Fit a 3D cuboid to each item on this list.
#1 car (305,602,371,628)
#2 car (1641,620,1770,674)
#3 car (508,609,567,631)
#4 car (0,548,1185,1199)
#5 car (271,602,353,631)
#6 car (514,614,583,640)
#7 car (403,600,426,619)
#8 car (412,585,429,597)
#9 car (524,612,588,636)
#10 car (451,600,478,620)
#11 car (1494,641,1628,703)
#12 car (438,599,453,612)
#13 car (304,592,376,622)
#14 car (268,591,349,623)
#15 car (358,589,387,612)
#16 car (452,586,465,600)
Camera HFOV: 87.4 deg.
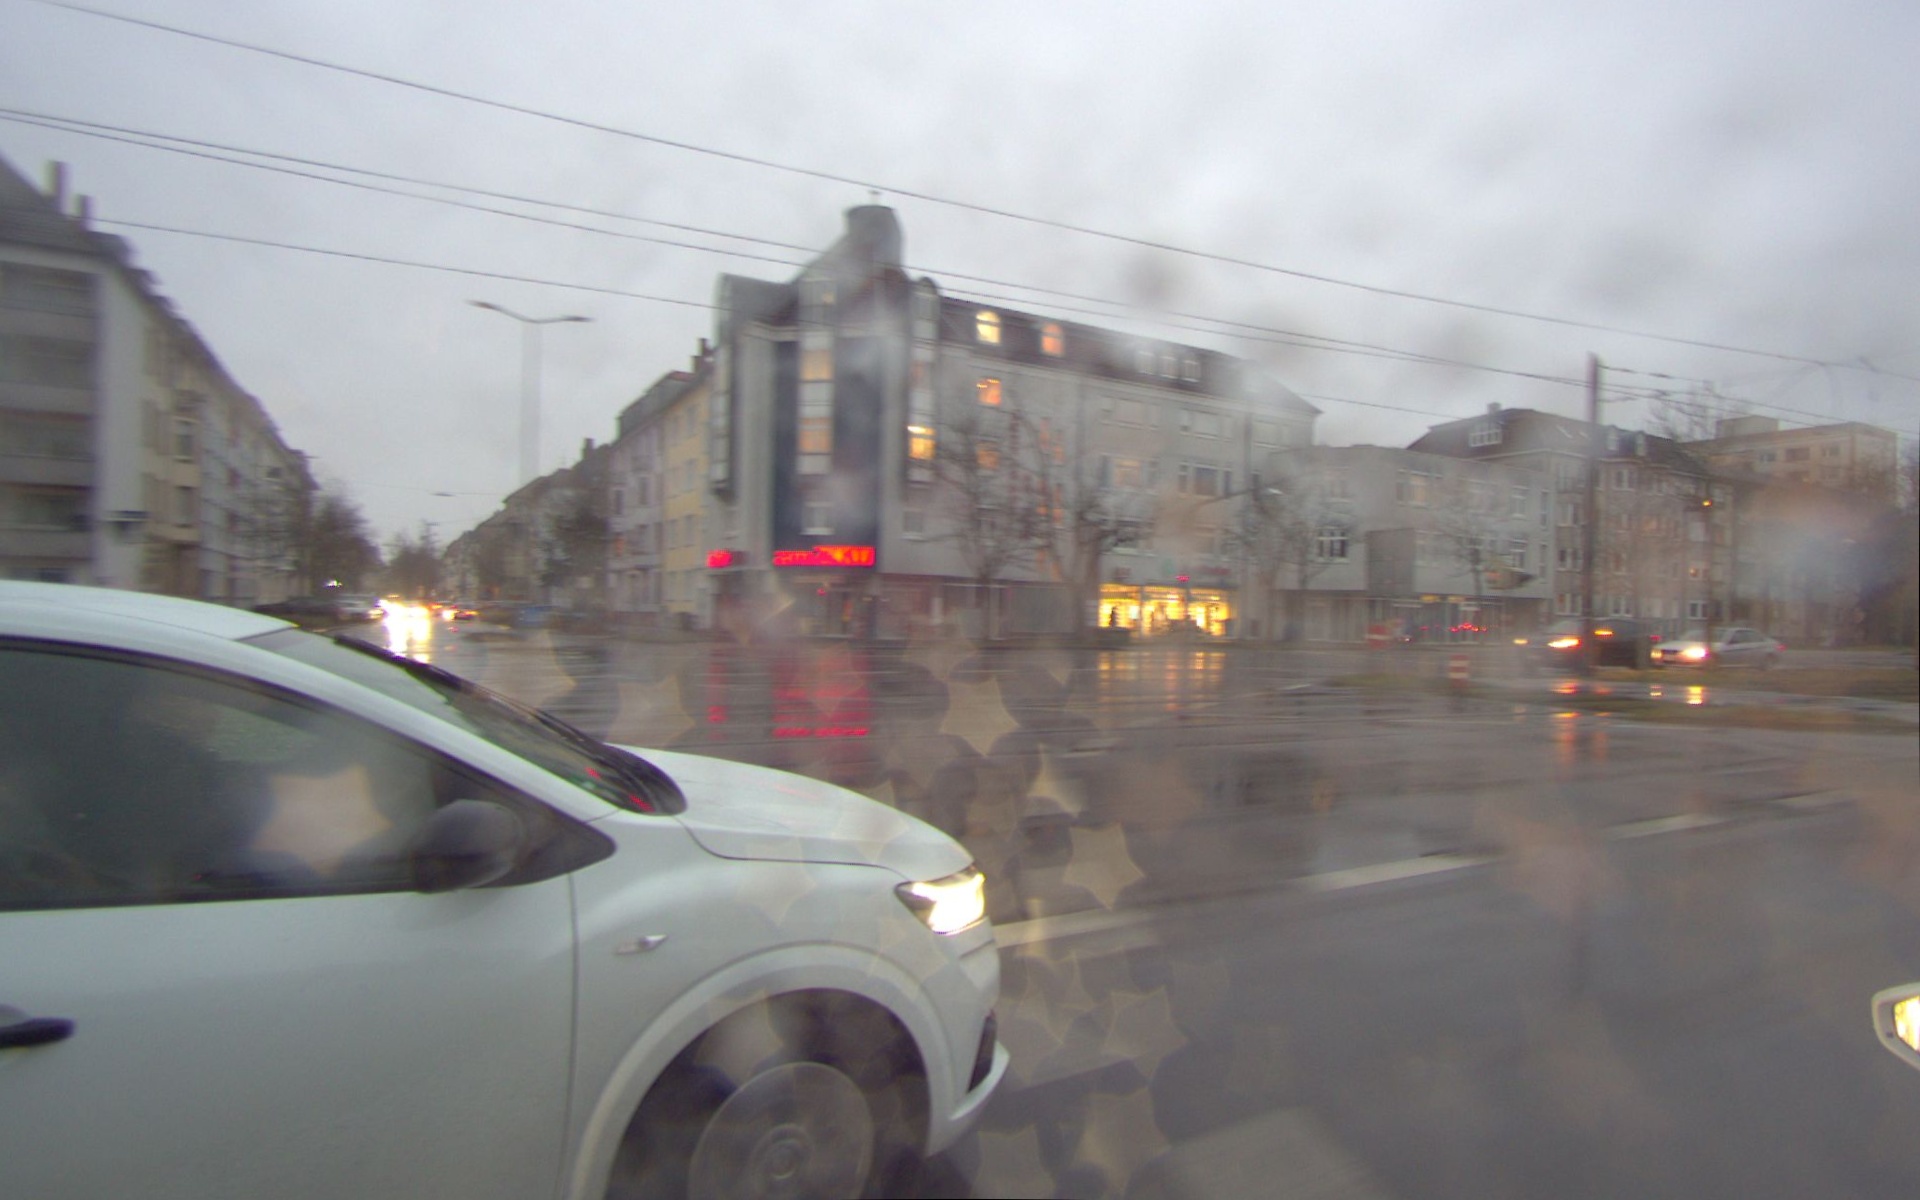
[{"bbox_3d":[-39.771,0.956,64.332,3.474,1.464,1.433,3,0,-30],"label":"car"},{"bbox_3d":[24.128,1.534,32.461,4.878,1.549,1.579,3,0,-31],"label":"car"},{"bbox_3d":[-28.377,1.343,67.513,3.448,1.308,1.589,3,0,-30],"label":"car"},{"bbox_3d":[-1.564,0.660,2.327,3.955,1.485,1.699,3,0,-31],"label":"car"},{"bbox_3d":[-33.137,0.852,51.474,3.414,1.315,1.576,3,0,-30],"label":"car"},{"bbox_3d":[-24.523,1.601,59.914,3.575,1.360,1.589,3,0,-30],"label":"car"},{"bbox_3d":[-45.148,0.797,83.152,1.470,1.379,3.415,3,0,-26],"label":"car"},{"bbox_3d":[-80.004,-1.341,148.937,1.741,1.621,3.874,3,0,-33],"label":"car"},{"bbox_3d":[-25.511,1.528,63.444,3.575,1.360,1.589,3,0,-30],"label":"car"},{"bbox_3d":[-38.265,0.738,77.585,1.662,1.365,3.513,3,0,-24],"label":"car"},{"bbox_3d":[18.109,2.167,30.228,3.955,1.628,1.795,3,0,-31],"label":"car"},{"bbox_3d":[-50.928,0.551,99.419,1.153,1.161,2.452,3,0,-26],"label":"car"},{"bbox_3d":[-41.163,0.468,66.809,3.953,1.824,1.563,3,0,-30],"label":"car"},{"bbox_3d":[-35.893,0.370,55.422,3.575,1.542,1.667,3,0,-30],"label":"car"},{"bbox_3d":[-53.369,0.033,91.352,1.975,1.855,3.836,3,0,-27],"label":"car"},{"bbox_3d":[-68.118,-0.912,136.552,1.490,1.736,3.588,3,0,-26],"label":"car"}]
